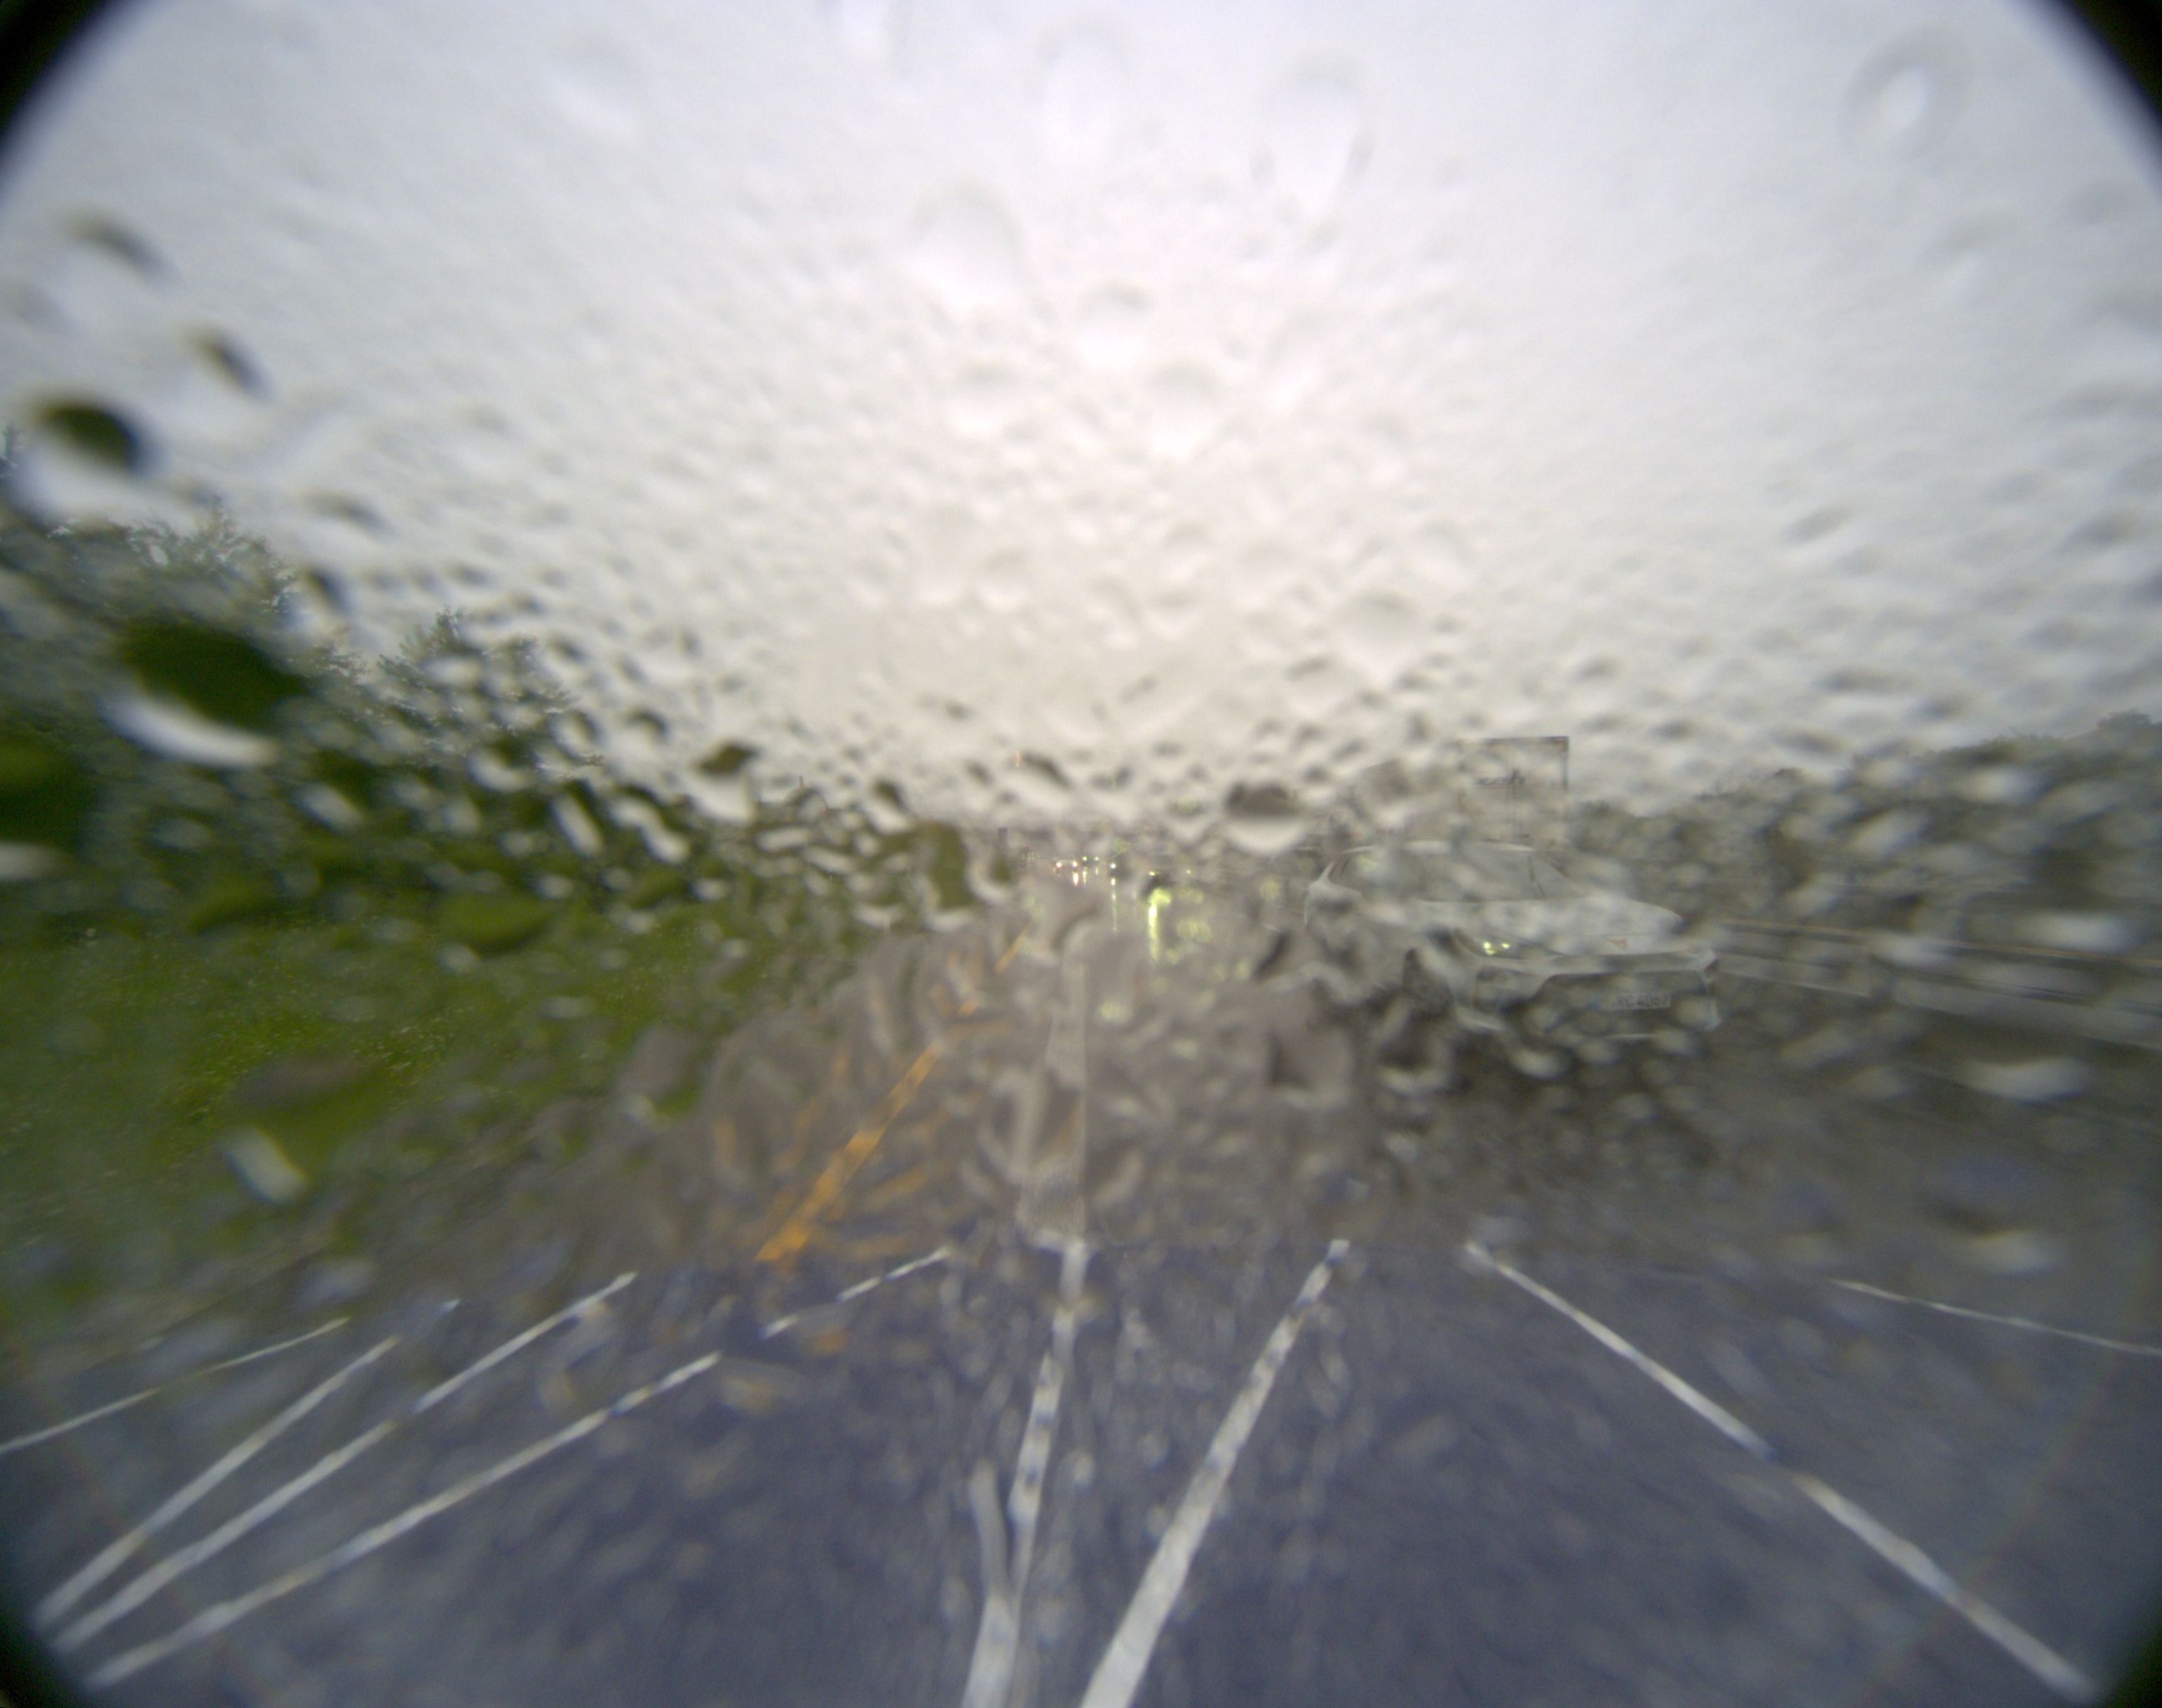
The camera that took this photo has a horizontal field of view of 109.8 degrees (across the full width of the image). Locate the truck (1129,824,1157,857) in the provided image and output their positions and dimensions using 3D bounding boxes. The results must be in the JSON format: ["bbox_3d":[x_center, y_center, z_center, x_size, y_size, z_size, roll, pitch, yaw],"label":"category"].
[{"bbox_3d":[7.849,-1.665,97.177,2.631,4.058,6.667,-2,0,-2],"label":"truck"}]

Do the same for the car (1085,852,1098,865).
[{"bbox_3d":[1.283,0.579,96.937,1.589,1.528,3.830,-1,1,0],"label":"car"}]

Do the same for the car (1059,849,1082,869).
[{"bbox_3d":[-0.976,0.413,68.505,1.881,1.772,3.998,-1,1,-3],"label":"car"}]

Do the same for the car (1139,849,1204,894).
[{"bbox_3d":[3.639,0.651,31.548,2.069,1.618,5.195,-2,1,0],"label":"car"}]

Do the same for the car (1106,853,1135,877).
[{"bbox_3d":[2.754,0.712,53.206,1.792,1.480,3.999,-3,1,0],"label":"car"}]

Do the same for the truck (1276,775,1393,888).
[{"bbox_3d":[10.023,-0.819,30.811,2.490,4.008,6.447,-2,0,0],"label":"truck"}]

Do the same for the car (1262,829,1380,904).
[{"bbox_3d":[6.645,0.332,21.589,1.998,1.873,4.433,-1,0,1],"label":"car"}]

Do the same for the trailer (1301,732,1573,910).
[{"bbox_3d":[10.022,-0.808,23.765,2.500,4.026,12.584,-1,1,0],"label":"trailer"}]

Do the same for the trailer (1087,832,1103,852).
[{"bbox_3d":[2.968,-2.632,168.585,2.620,3.984,11.923,-3,1,-2],"label":"trailer"}]

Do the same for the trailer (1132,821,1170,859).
[{"bbox_3d":[8.148,-1.636,90.062,2.607,4.054,12.427,-2,1,-2],"label":"trailer"}]

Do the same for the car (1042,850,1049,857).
[{"bbox_3d":[-9.018,-0.092,192.569,1.673,1.804,3.999,-1,1,-2],"label":"car"}]

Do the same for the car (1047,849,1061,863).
[{"bbox_3d":[-3.555,0.276,98.649,1.674,1.804,3.998,-1,1,-4],"label":"car"}]

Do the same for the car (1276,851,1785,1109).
[{"bbox_3d":[3.421,0.773,7.202,1.932,1.542,5.006,-1,1,1],"label":"car"}]
